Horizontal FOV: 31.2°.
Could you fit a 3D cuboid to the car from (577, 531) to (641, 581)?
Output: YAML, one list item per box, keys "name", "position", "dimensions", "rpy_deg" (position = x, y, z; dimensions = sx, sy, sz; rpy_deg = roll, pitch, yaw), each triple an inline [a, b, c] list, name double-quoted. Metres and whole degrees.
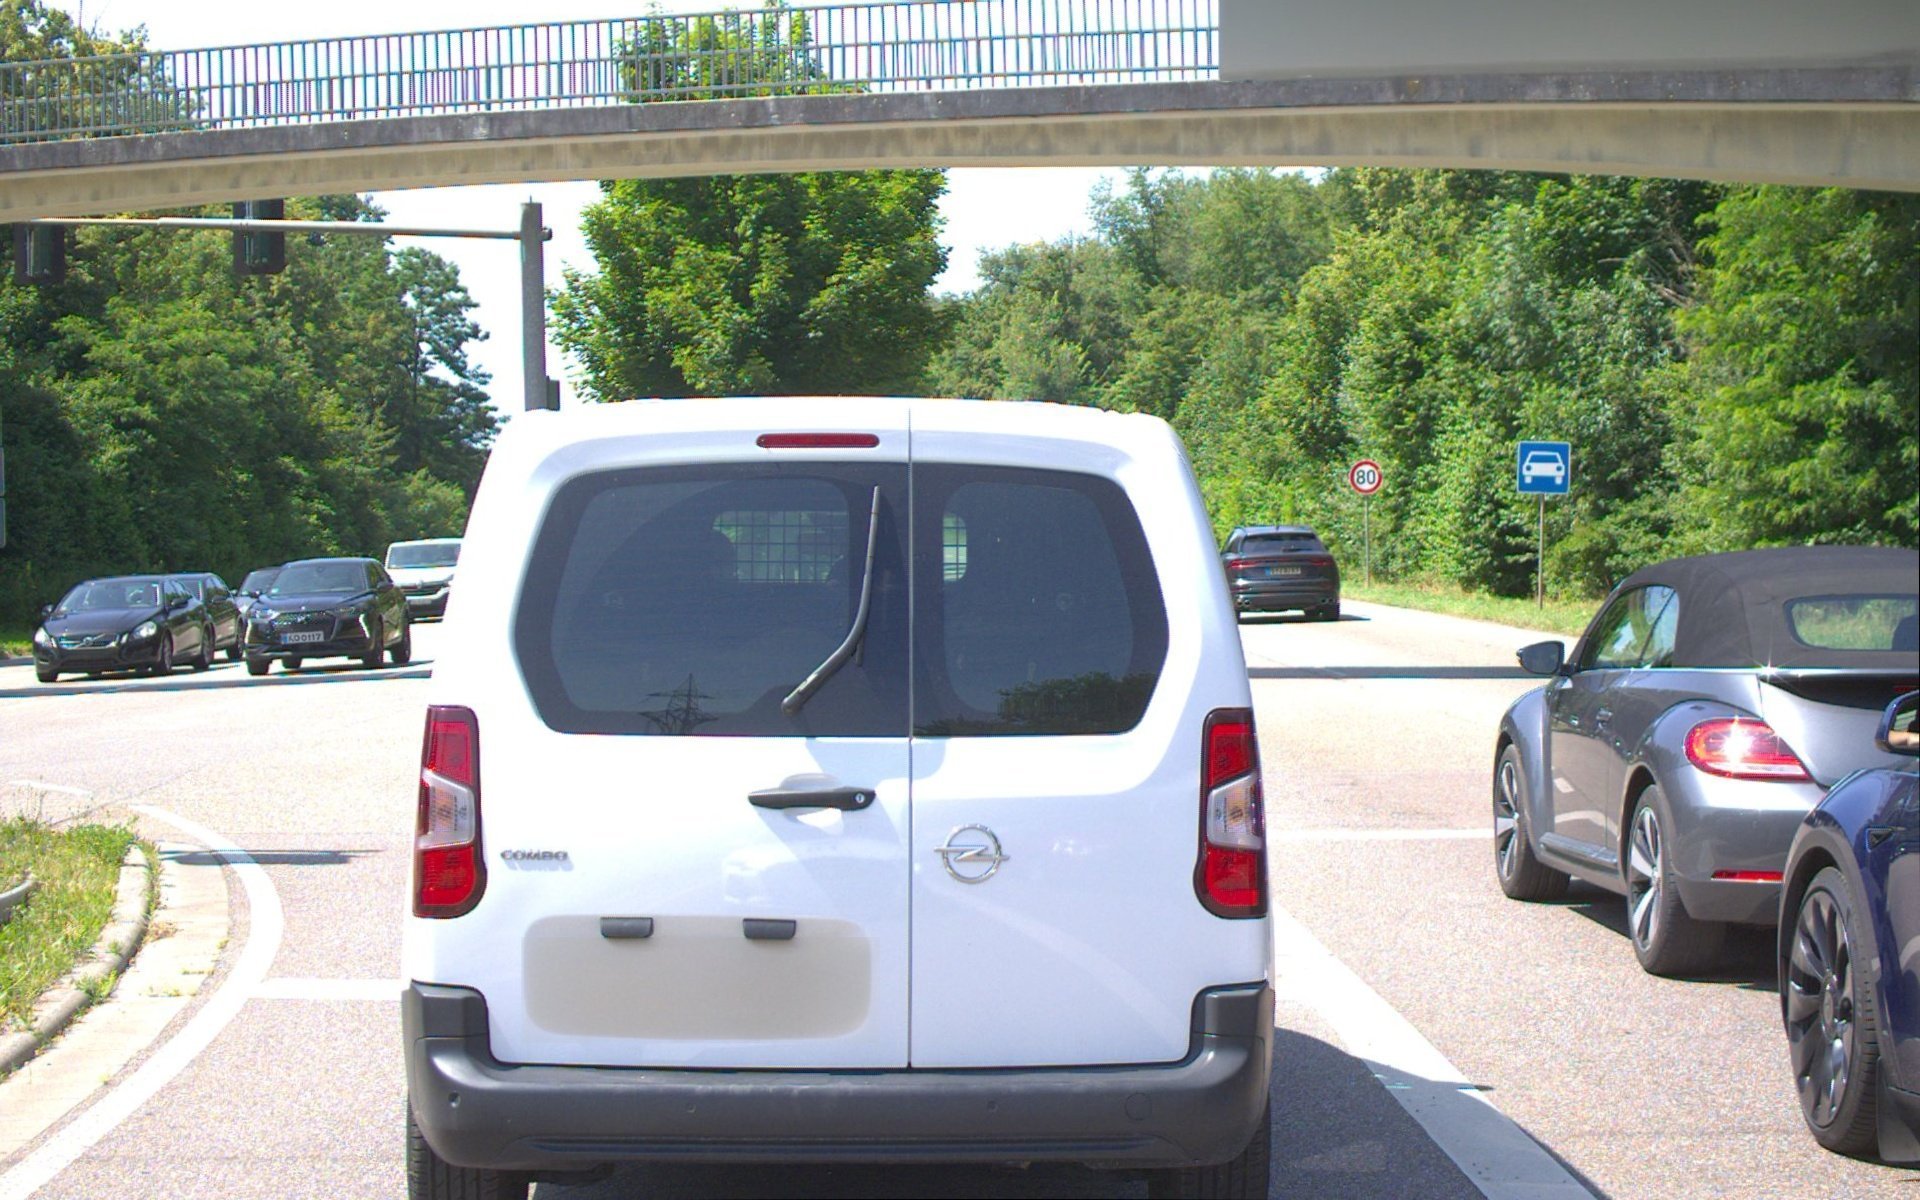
- name: "car"
  position: [-14.978, -1.887, 146.932]
  dimensions: [2.208, 1.986, 4.734]
  rpy_deg: [-2, 1, -1]

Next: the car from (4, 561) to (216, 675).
- name: "car"
  position: [-12.063, 0.224, 49.044]
  dimensions: [2.008, 1.455, 4.055]
  rpy_deg: [-2, 1, -1]

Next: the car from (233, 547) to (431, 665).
- name: "car"
  position: [-8.500, 0.049, 46.846]
  dimensions: [1.993, 1.518, 4.028]
  rpy_deg: [0, 1, -1]

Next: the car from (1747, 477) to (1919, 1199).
- name: "car"
  position: [3.059, 0.576, 6.787]
  dimensions: [1.900, 1.639, 4.520]
  rpy_deg: [1, 1, -1]

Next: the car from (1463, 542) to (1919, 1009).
- name: "car"
  position: [3.174, 0.536, 12.990]
  dimensions: [1.900, 1.472, 3.939]
  rpy_deg: [1, 1, -1]

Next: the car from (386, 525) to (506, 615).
- name: "car"
  position: [-12.180, -0.730, 81.817]
  dimensions: [2.208, 1.986, 5.489]
  rpy_deg: [-2, 1, -3]

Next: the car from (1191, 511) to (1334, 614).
- name: "car"
  position: [5.214, -0.686, 59.805]
  dimensions: [2.042, 1.693, 5.086]
  rpy_deg: [-1, 1, 0]

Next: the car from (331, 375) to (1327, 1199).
- name: "car"
  position: [-0.300, 0.440, 8.431]
  dimensions: [1.849, 1.819, 3.982]
  rpy_deg: [1, 2, -2]
